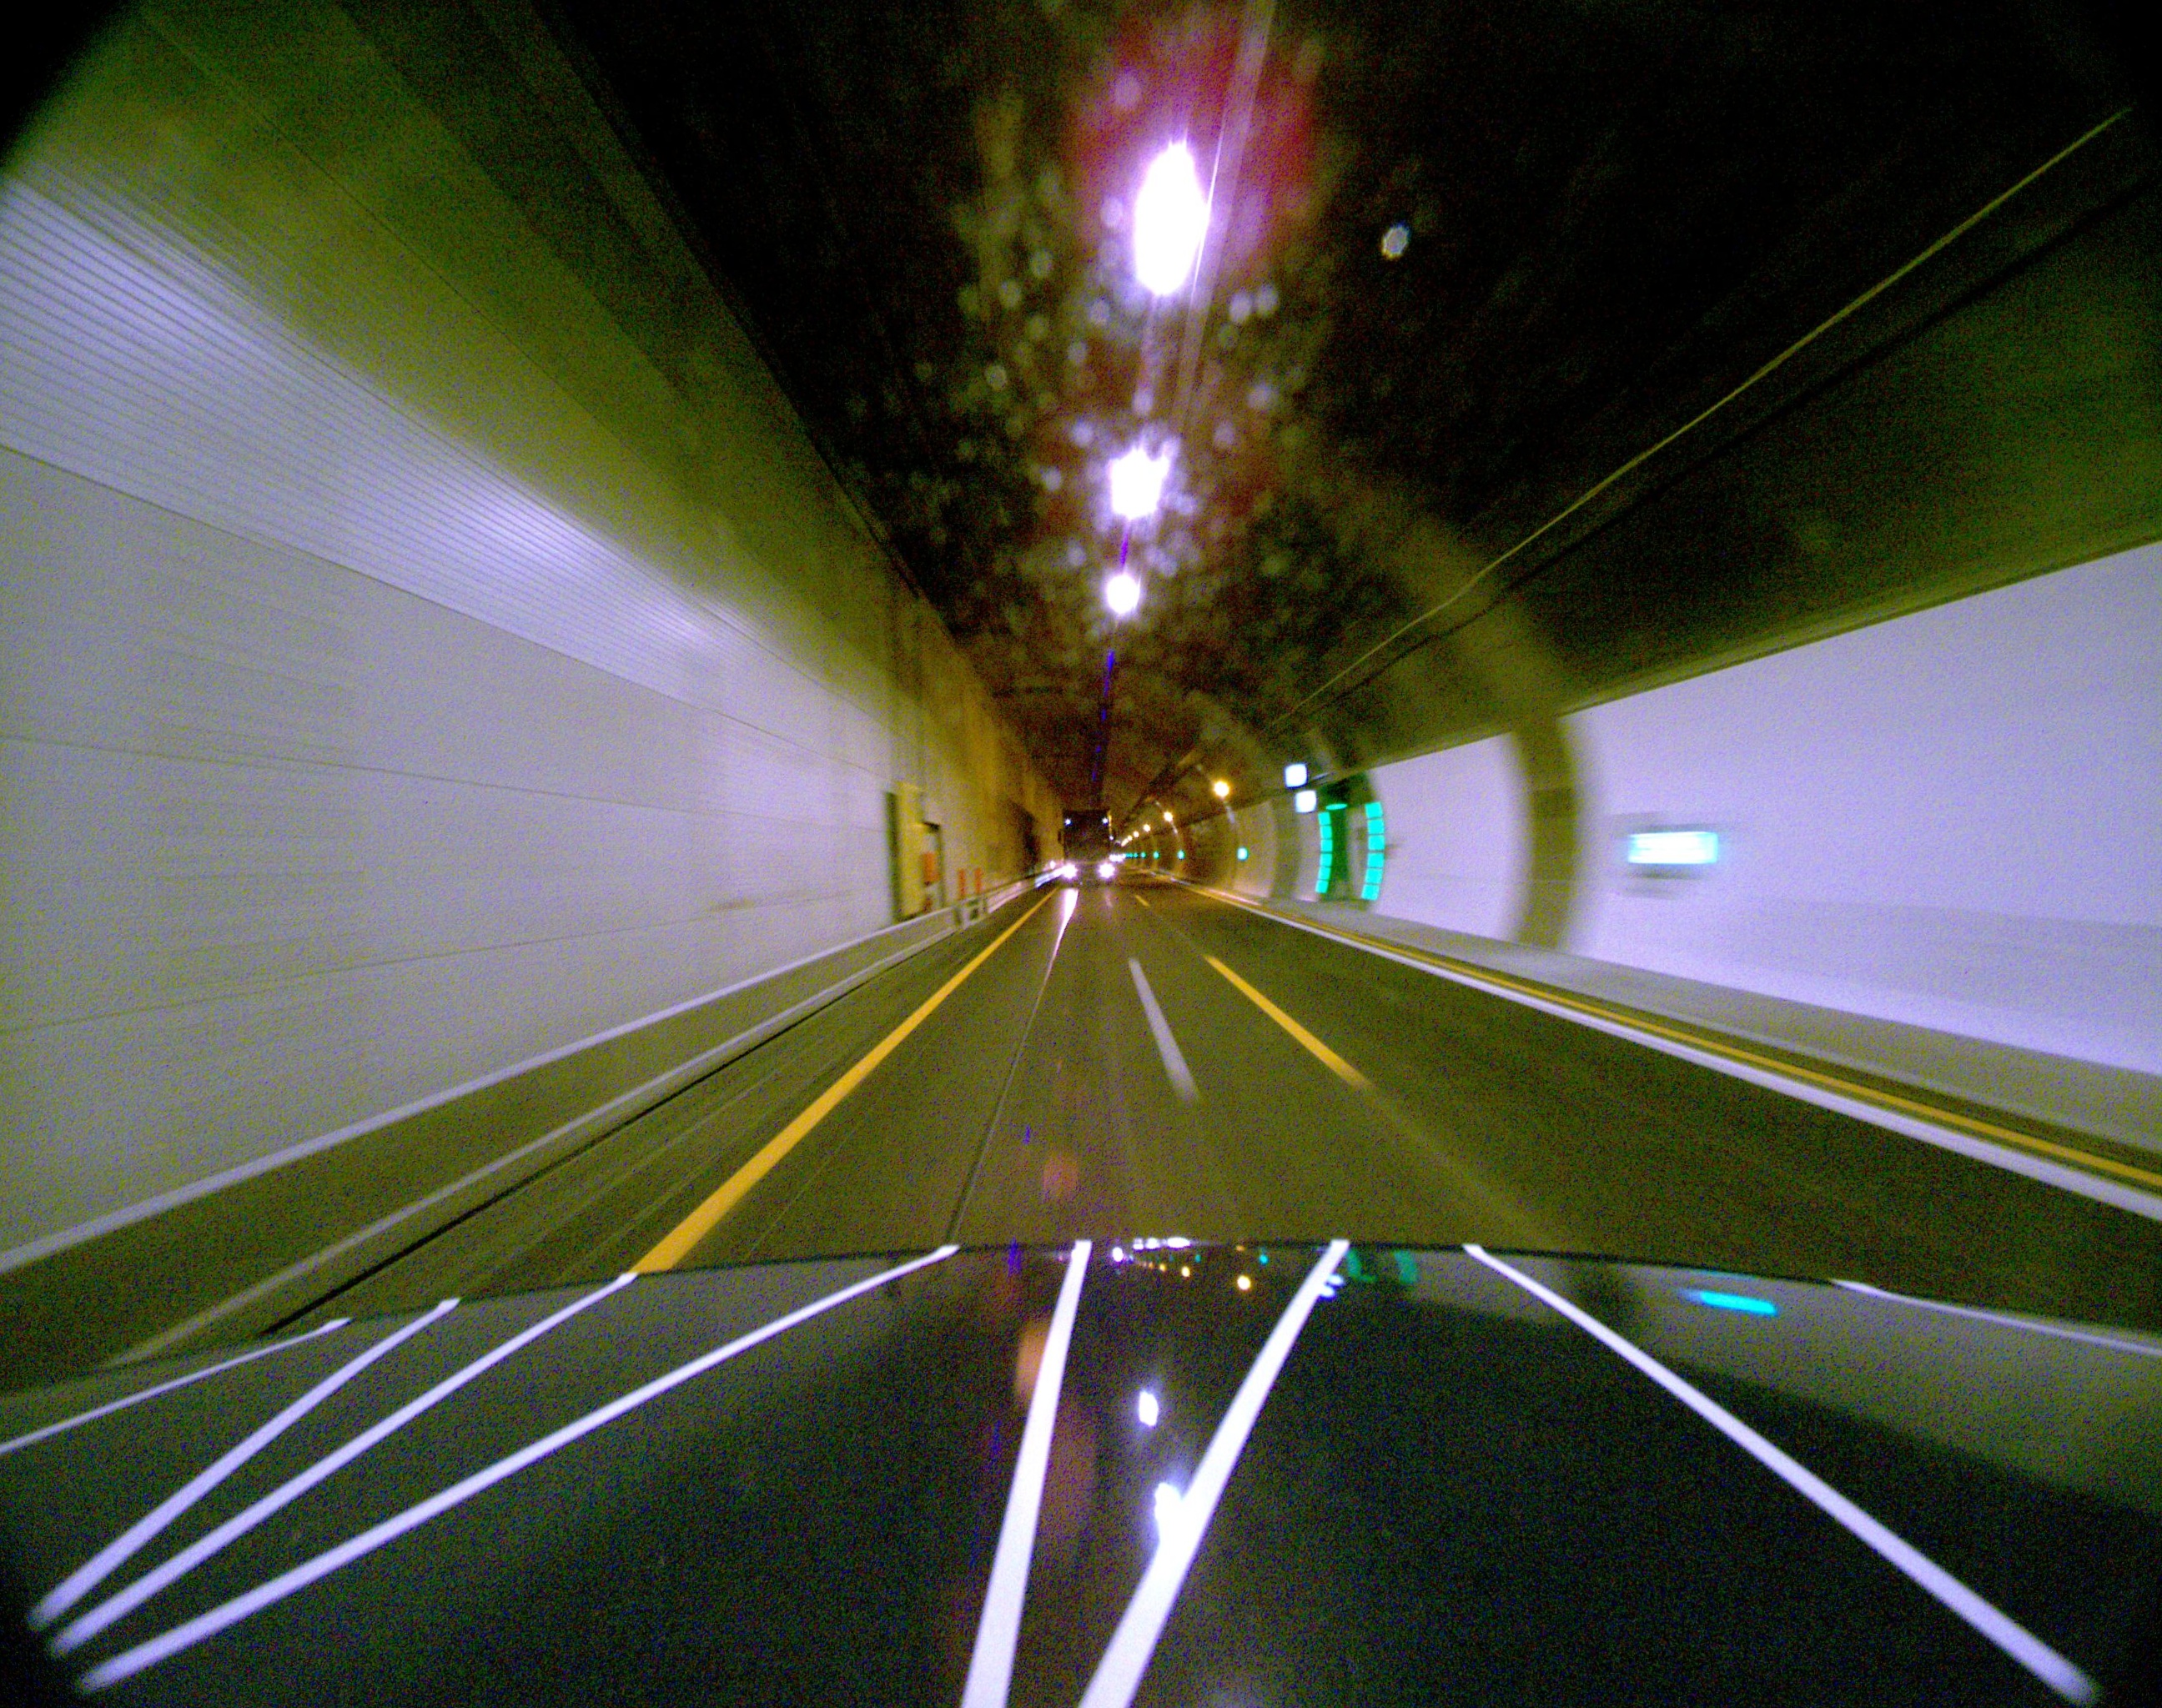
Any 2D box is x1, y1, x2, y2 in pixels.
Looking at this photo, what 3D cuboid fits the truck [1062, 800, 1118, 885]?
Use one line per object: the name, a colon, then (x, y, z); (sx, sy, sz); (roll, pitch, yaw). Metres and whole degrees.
truck: (0.481, -0.585, 41.832); (2.769, 4.198, 7.977); (-1, 1, 1)
